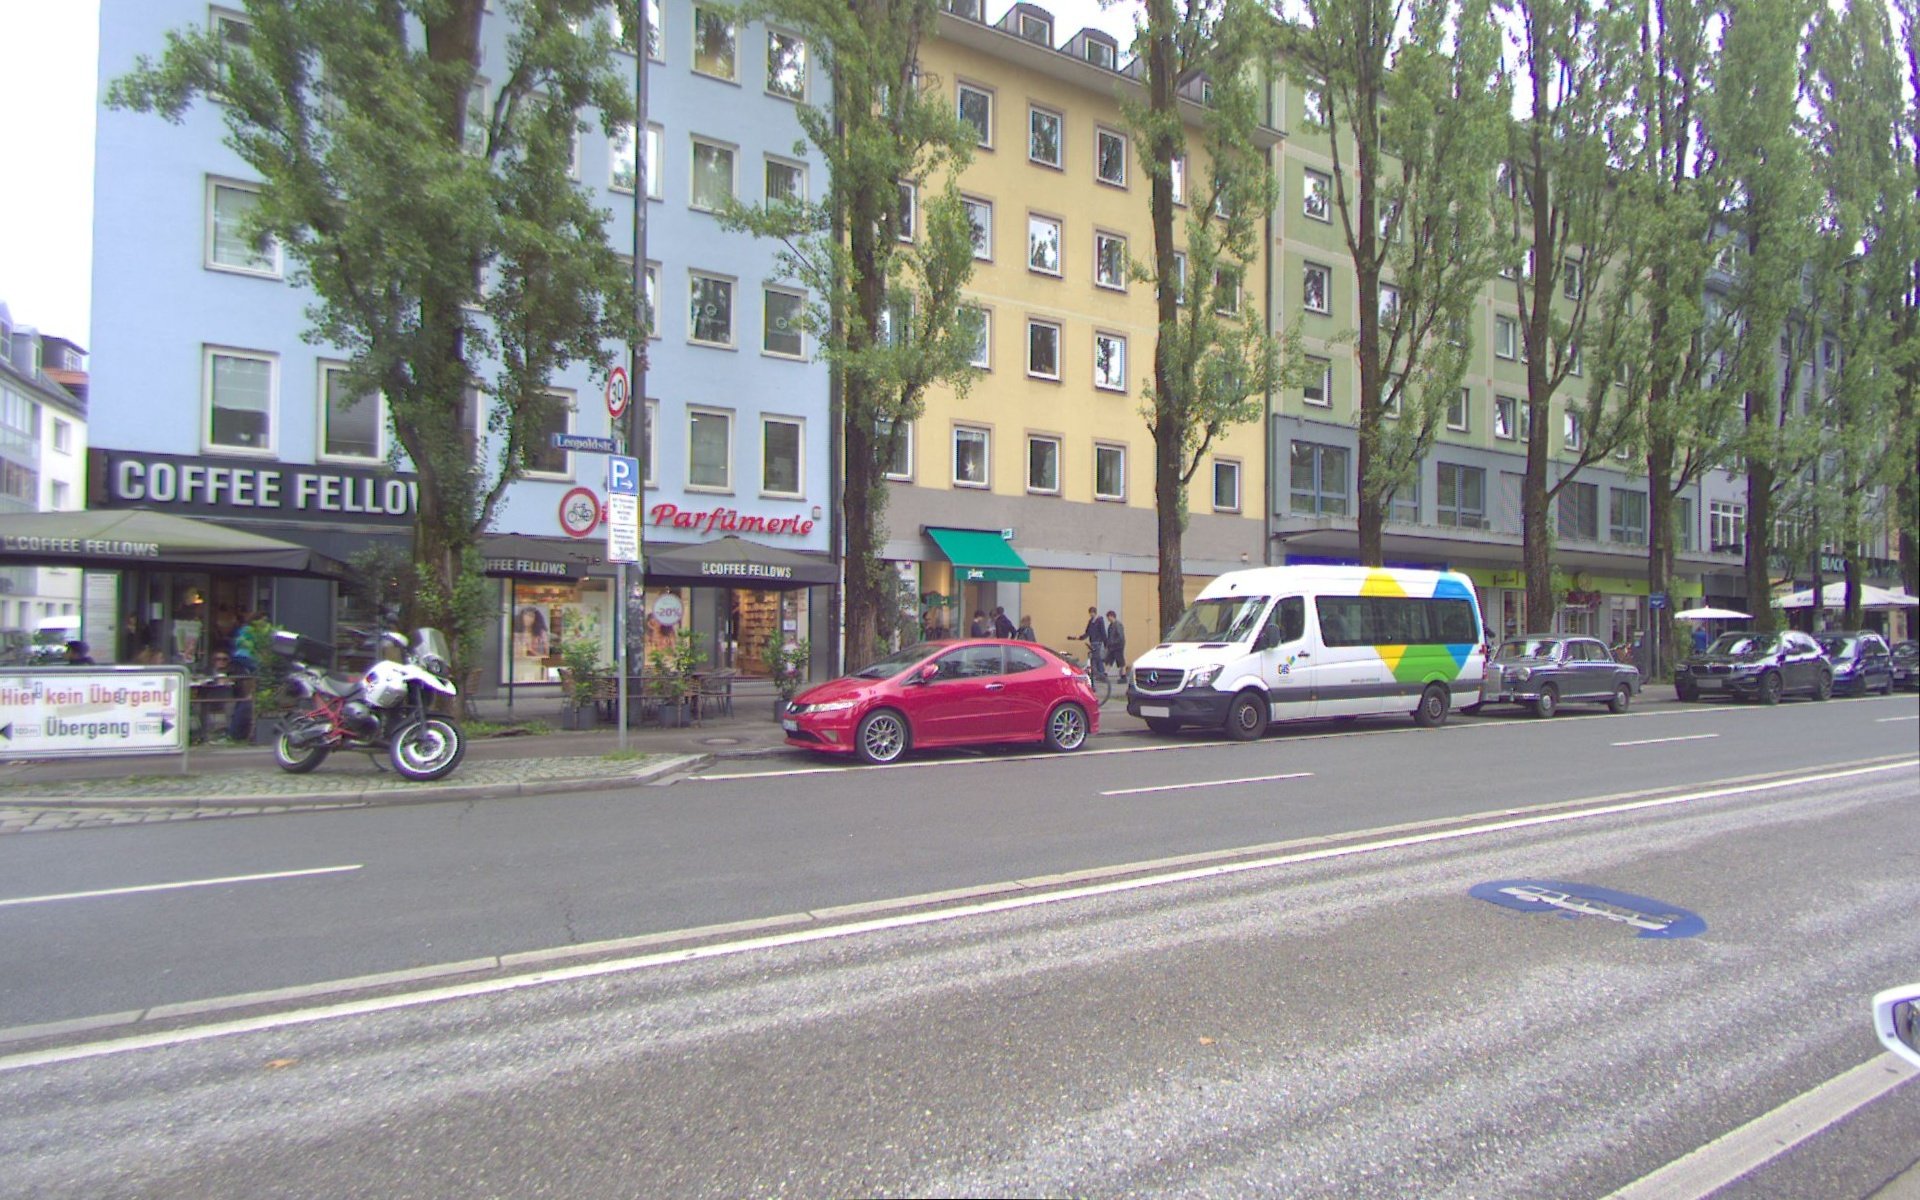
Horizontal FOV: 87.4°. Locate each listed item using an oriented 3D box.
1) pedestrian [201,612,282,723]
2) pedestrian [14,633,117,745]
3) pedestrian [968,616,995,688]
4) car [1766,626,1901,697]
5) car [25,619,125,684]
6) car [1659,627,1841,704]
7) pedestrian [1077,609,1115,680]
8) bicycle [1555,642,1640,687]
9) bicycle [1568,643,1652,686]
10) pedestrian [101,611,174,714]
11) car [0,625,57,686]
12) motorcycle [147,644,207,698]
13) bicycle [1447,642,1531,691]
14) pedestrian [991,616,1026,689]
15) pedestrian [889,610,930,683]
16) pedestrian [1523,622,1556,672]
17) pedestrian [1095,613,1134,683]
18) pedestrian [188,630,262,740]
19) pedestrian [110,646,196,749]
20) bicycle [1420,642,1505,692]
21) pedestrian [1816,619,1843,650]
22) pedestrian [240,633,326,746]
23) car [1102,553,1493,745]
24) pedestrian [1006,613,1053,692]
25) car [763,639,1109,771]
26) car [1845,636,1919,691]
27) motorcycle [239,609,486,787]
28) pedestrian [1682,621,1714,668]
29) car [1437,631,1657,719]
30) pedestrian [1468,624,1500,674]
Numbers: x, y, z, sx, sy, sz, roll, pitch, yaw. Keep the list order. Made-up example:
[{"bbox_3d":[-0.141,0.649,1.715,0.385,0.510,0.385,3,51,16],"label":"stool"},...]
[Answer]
[{"bbox_3d":[-11.222,1.038,15.725,0.939,1.668,0.694,1,-2,-31],"label":"pedestrian"},{"bbox_3d":[-11.477,1.120,12.918,0.808,1.380,0.695,1,-2,-27],"label":"pedestrian"},{"bbox_3d":[0.496,1.199,23.353,0.553,1.657,0.699,0,-1,-6],"label":"pedestrian"},{"bbox_3d":[23.347,1.613,26.835,3.880,1.743,1.700,1,-3,-33],"label":"car"},{"bbox_3d":[-35.171,2.049,40.060,1.959,2.396,4.554,1,-3,-29],"label":"car"},{"bbox_3d":[18.836,1.522,23.917,4.557,1.686,1.858,1,-3,-30],"label":"car"},{"bbox_3d":[3.504,1.148,25.985,0.717,1.818,0.695,1,-2,-25],"label":"pedestrian"},{"bbox_3d":[18.336,1.837,28.936,0.712,1.110,1.933,1,1,-36],"label":"bicycle"},{"bbox_3d":[19.012,1.865,29.408,0.712,1.110,1.933,1,1,-36],"label":"bicycle"},{"bbox_3d":[-14.792,1.105,18.074,0.933,1.796,0.699,-1,-2,30],"label":"pedestrian"},{"bbox_3d":[-30.317,1.739,31.446,2.093,1.789,4.551,1,-3,-30],"label":"car"},{"bbox_3d":[-19.584,1.744,25.169,0.729,1.219,2.748,-1,-1,-28],"label":"motorcycle"},{"bbox_3d":[13.726,1.698,26.110,0.710,1.110,1.862,1,1,-27],"label":"bicycle"},{"bbox_3d":[1.115,1.199,23.119,0.713,1.657,0.699,0,-1,-6],"label":"pedestrian"},{"bbox_3d":[-1.178,1.067,23.269,0.718,1.657,0.695,1,-2,-28],"label":"pedestrian"},{"bbox_3d":[19.832,1.604,34.367,0.667,1.708,0.753,2,-2,-29],"label":"pedestrian"},{"bbox_3d":[3.882,1.200,25.251,0.717,1.722,0.695,1,-2,-25],"label":"pedestrian"},{"bbox_3d":[-9.561,1.083,13.088,0.692,1.380,0.709,1,-2,-32],"label":"pedestrian"},{"bbox_3d":[-9.882,1.170,12.323,0.692,1.198,0.811,1,-2,-31],"label":"pedestrian"},{"bbox_3d":[12.706,1.678,25.469,0.710,1.110,1.862,1,1,-27],"label":"bicycle"},{"bbox_3d":[41.108,1.649,47.481,0.792,1.428,0.760,2,0,-35],"label":"pedestrian"},{"bbox_3d":[-8.600,1.107,12.798,0.838,1.380,0.694,1,-2,-31],"label":"pedestrian"},{"bbox_3d":[5.619,0.776,16.249,6.831,2.601,1.996,1,-3,-30],"label":"car"},{"bbox_3d":[1.541,1.159,22.328,0.775,1.708,0.753,1,-2,-27],"label":"pedestrian"},{"bbox_3d":[-0.259,1.225,12.800,4.100,1.438,1.729,1,-3,-30],"label":"car"},{"bbox_3d":[27.905,1.825,29.342,4.299,1.508,1.790,1,-3,-30],"label":"car"},{"bbox_3d":[-5.832,0.894,9.802,2.301,1.584,0.715,1,0,18],"label":"motorcycle"},{"bbox_3d":[27.272,1.652,37.121,0.667,1.708,0.753,2,-2,-29],"label":"pedestrian"},{"bbox_3d":[11.665,1.427,19.923,4.362,1.572,1.858,1,-3,-30],"label":"car"},{"bbox_3d":[18.166,1.688,34.842,0.749,1.708,0.670,2,-2,-29],"label":"pedestrian"}]
